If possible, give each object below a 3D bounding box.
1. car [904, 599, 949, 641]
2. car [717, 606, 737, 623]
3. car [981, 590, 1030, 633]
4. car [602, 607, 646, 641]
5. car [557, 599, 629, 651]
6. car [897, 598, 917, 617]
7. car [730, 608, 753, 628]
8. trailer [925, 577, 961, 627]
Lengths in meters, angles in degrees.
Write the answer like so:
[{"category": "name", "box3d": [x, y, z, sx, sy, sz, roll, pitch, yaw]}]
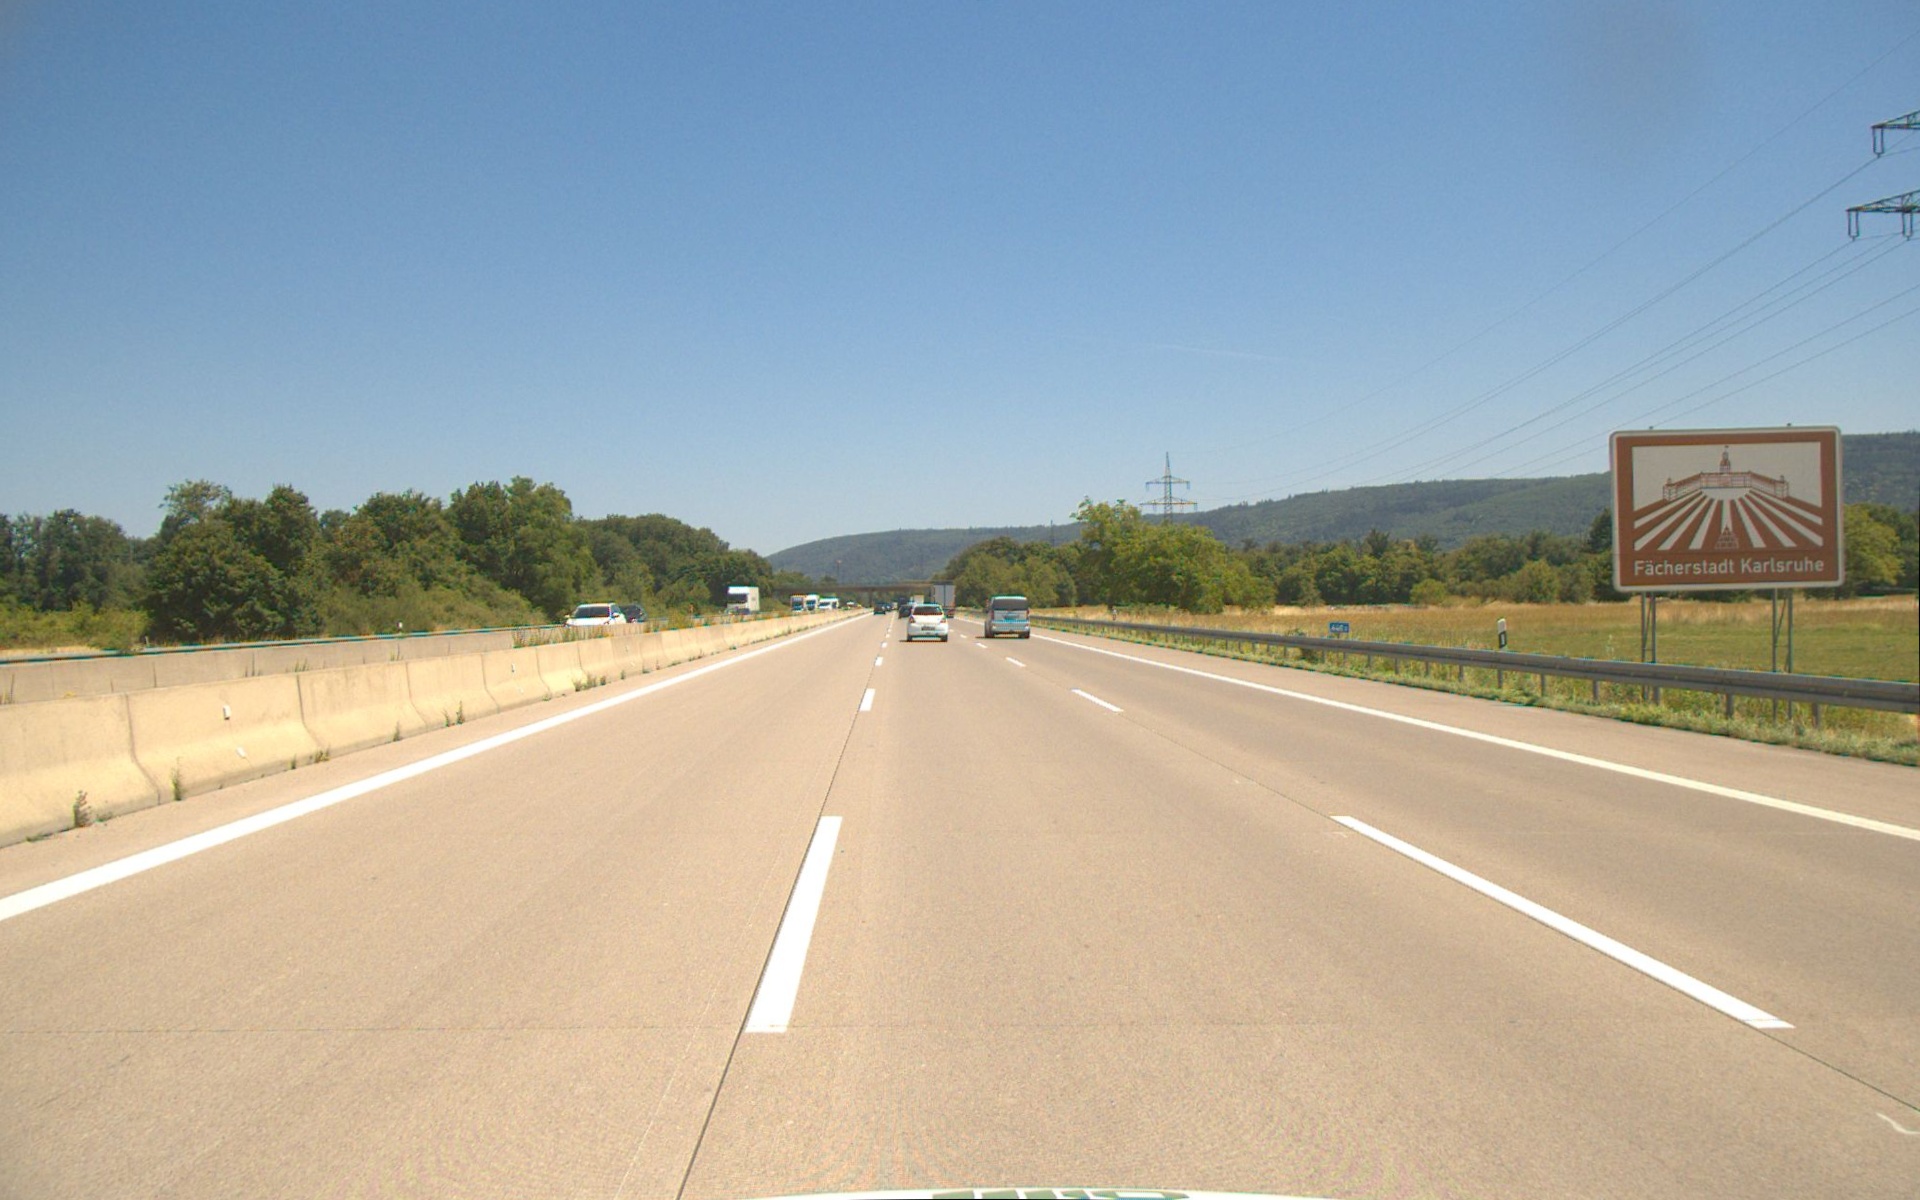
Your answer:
[{"category": "car", "box3d": [-1.440, 0.828, 69.080, 1.783, 1.691, 3.998, 0, 0, -3]}, {"category": "car", "box3d": [-27.724, 1.704, 196.653, 1.954, 1.881, 3.997, 2, 0, -4]}, {"category": "car", "box3d": [2.098, 0.516, 76.821, 1.954, 1.881, 3.998, 1, 0, -3]}, {"category": "car", "box3d": [-19.475, 1.392, 96.055, 1.954, 1.870, 4.811, 1, 0, -5]}, {"category": "car", "box3d": [-13.766, 0.917, 62.196, 1.867, 1.892, 3.999, 1, 0, -1]}, {"category": "car", "box3d": [-5.661, 0.781, 177.379, 1.954, 1.881, 3.997, 2, 0, -4]}, {"category": "car", "box3d": [-21.561, 1.777, 163.176, 1.954, 1.881, 3.997, 2, 0, -4]}, {"category": "trailer", "box3d": [-2.144, 0.247, 200.129, 3.647, 5.913, 12.152, 1, 0, -4]}]
